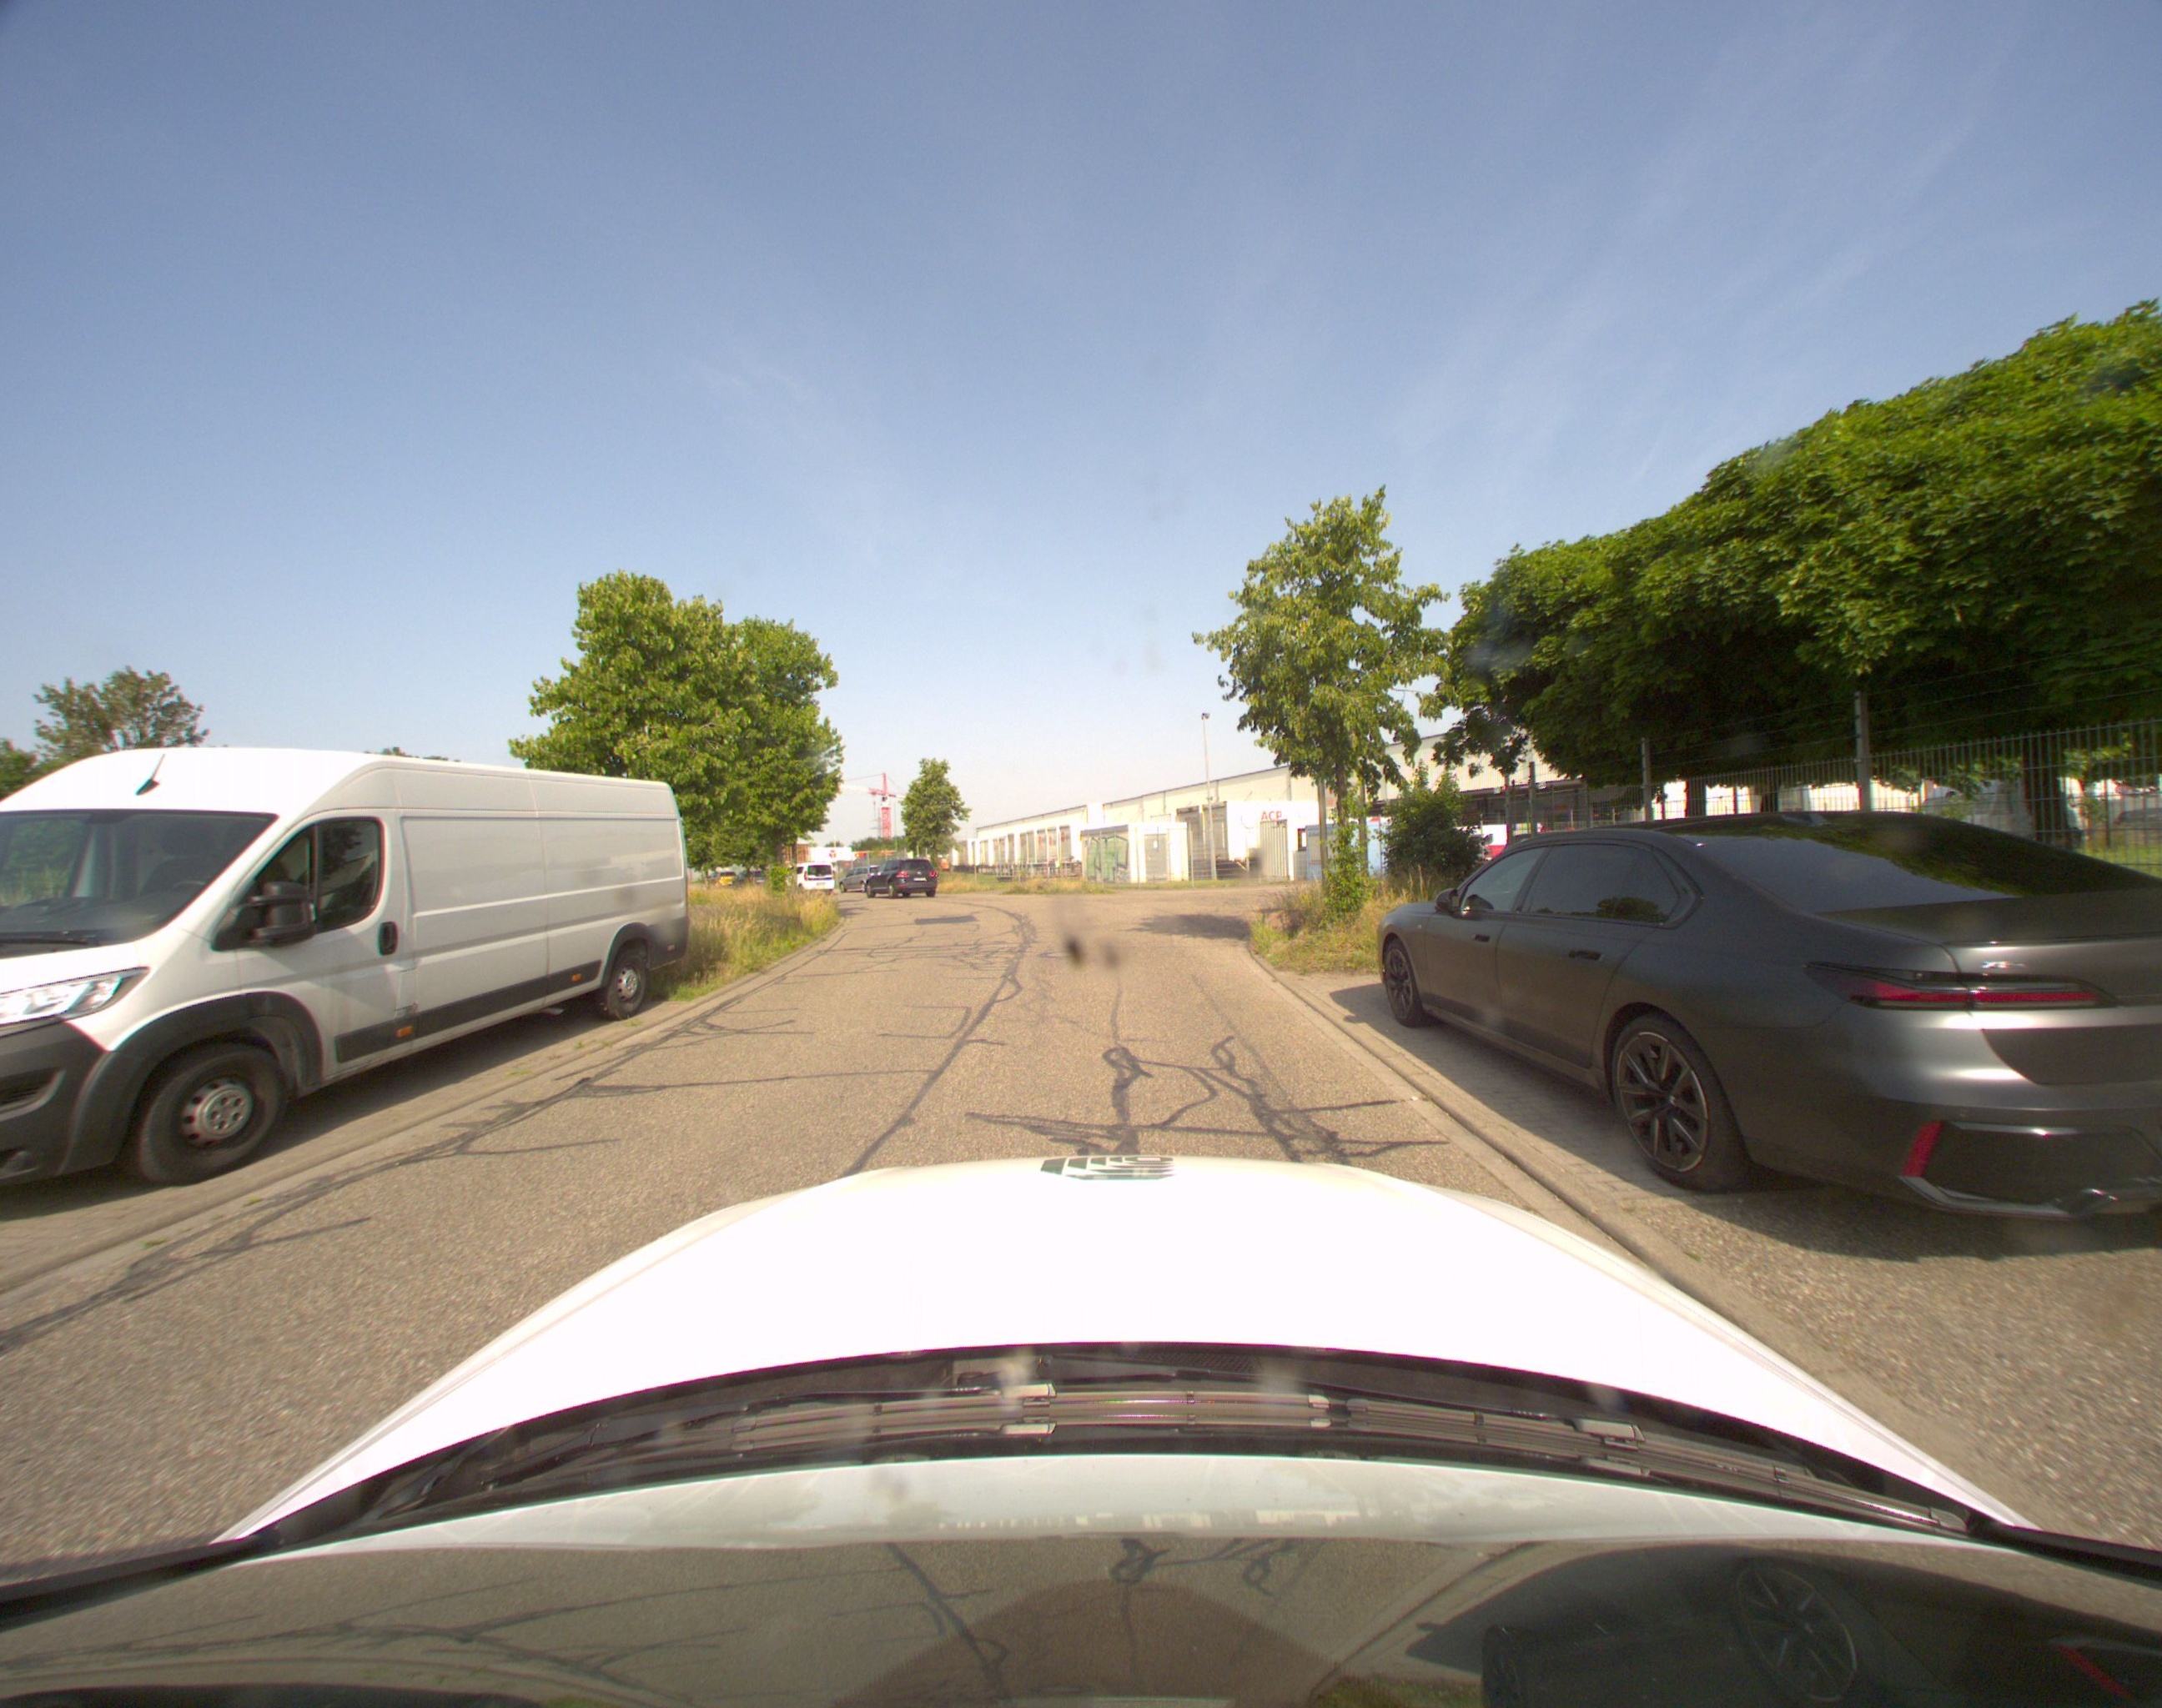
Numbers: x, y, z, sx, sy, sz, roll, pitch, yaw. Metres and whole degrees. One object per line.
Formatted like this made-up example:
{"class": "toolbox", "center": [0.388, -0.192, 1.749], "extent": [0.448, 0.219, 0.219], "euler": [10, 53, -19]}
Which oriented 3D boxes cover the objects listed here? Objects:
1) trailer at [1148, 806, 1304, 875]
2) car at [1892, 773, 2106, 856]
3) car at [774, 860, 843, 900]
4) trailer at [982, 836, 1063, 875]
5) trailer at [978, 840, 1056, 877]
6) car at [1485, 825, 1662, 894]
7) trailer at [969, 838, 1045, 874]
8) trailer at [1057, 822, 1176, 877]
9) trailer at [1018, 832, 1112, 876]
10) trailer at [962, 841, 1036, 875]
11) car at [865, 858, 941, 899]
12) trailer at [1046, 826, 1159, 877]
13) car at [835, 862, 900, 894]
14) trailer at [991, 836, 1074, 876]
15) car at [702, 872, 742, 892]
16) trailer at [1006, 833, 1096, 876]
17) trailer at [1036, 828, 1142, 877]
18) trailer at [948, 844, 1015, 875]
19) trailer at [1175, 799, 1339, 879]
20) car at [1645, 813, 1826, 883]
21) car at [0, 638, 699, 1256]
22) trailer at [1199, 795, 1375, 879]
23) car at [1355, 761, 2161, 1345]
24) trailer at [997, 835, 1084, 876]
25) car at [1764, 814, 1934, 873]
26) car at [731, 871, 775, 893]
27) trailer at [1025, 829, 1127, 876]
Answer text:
{"class": "trailer", "center": [8.489, -0.799, 47.574], "extent": [8.767, 3.761, 2.770], "euler": [-2, -1, -22]}
{"class": "car", "center": [30.554, -1.322, 27.093], "extent": [6.845, 2.483, 2.194], "euler": [-2, 1, -18]}
{"class": "car", "center": [-15.482, 1.484, 46.065], "extent": [2.139, 2.110, 4.570], "euler": [-2, -1, -40]}
{"class": "trailer", "center": [-6.066, 0.172, 84.913], "extent": [7.995, 3.894, 2.755], "euler": [0, -1, -22]}
{"class": "trailer", "center": [-6.959, 0.464, 88.328], "extent": [7.995, 3.894, 2.755], "euler": [0, -1, -22]}
{"class": "car", "center": [12.590, 0.135, 20.853], "extent": [3.962, 1.524, 1.716], "euler": [-2, -3, -21]}
{"class": "trailer", "center": [-8.295, 0.227, 91.021], "extent": [7.995, 3.894, 2.755], "euler": [0, -1, -22]}
{"class": "trailer", "center": [2.684, -0.345, 61.213], "extent": [8.570, 3.894, 2.755], "euler": [0, -1, -22]}
{"class": "trailer", "center": [-1.442, -0.005, 73.669], "extent": [8.065, 3.894, 2.755], "euler": [0, -1, -22]}
{"class": "trailer", "center": [-9.456, 0.448, 94.092], "extent": [7.995, 3.894, 2.755], "euler": [0, -1, -22]}
{"class": "car", "center": [-7.720, 1.078, 35.043], "extent": [1.894, 1.586, 4.071], "euler": [-2, -1, -32]}
{"class": "trailer", "center": [1.731, -0.191, 64.119], "extent": [8.570, 3.894, 2.755], "euler": [0, -1, -22]}
{"class": "car", "center": [-12.404, 1.383, 47.156], "extent": [1.815, 1.625, 4.396], "euler": [-4, 1, -41]}
{"class": "trailer", "center": [-4.879, 0.182, 82.125], "extent": [7.995, 3.894, 2.755], "euler": [0, -1, -22]}
{"class": "car", "center": [-29.263, 2.264, 66.362], "extent": [1.730, 1.455, 4.136], "euler": [-4, 1, -42]}
{"class": "trailer", "center": [-2.824, 0.034, 76.302], "extent": [7.995, 3.894, 2.755], "euler": [0, -1, -22]}
{"class": "trailer", "center": [0.687, -0.141, 67.009], "extent": [8.341, 3.894, 2.755], "euler": [0, -1, -22]}
{"class": "trailer", "center": [-12.514, 0.661, 102.458], "extent": [7.995, 3.894, 2.722], "euler": [0, -1, -22]}
{"class": "trailer", "center": [9.716, -0.851, 44.819], "extent": [8.567, 3.893, 2.756], "euler": [-3, 0, -21]}
{"class": "car", "center": [17.973, -0.160, 22.385], "extent": [4.269, 1.626, 1.864], "euler": [-2, -4, -20]}
{"class": "car", "center": [-5.637, 0.393, 6.629], "extent": [2.096, 2.595, 6.500], "euler": [0, 0, -1]}
{"class": "trailer", "center": [10.628, -0.868, 41.975], "extent": [8.565, 3.894, 2.757], "euler": [-2, -3, -20]}
{"class": "car", "center": [3.380, 0.531, 4.814], "extent": [1.873, 1.574, 5.121], "euler": [-4, -1, 2]}
{"class": "trailer", "center": [-3.939, 0.118, 79.082], "extent": [7.995, 3.894, 2.755], "euler": [0, -1, -22]}
{"class": "car", "center": [23.132, -0.314, 24.557], "extent": [4.490, 1.518, 1.717], "euler": [-2, -3, -18]}
{"class": "car", "center": [-25.136, 2.161, 62.398], "extent": [1.730, 1.515, 3.955], "euler": [-4, 1, -43]}
{"class": "trailer", "center": [-0.403, -0.135, 69.849], "extent": [8.341, 3.894, 2.755], "euler": [0, -1, -22]}
